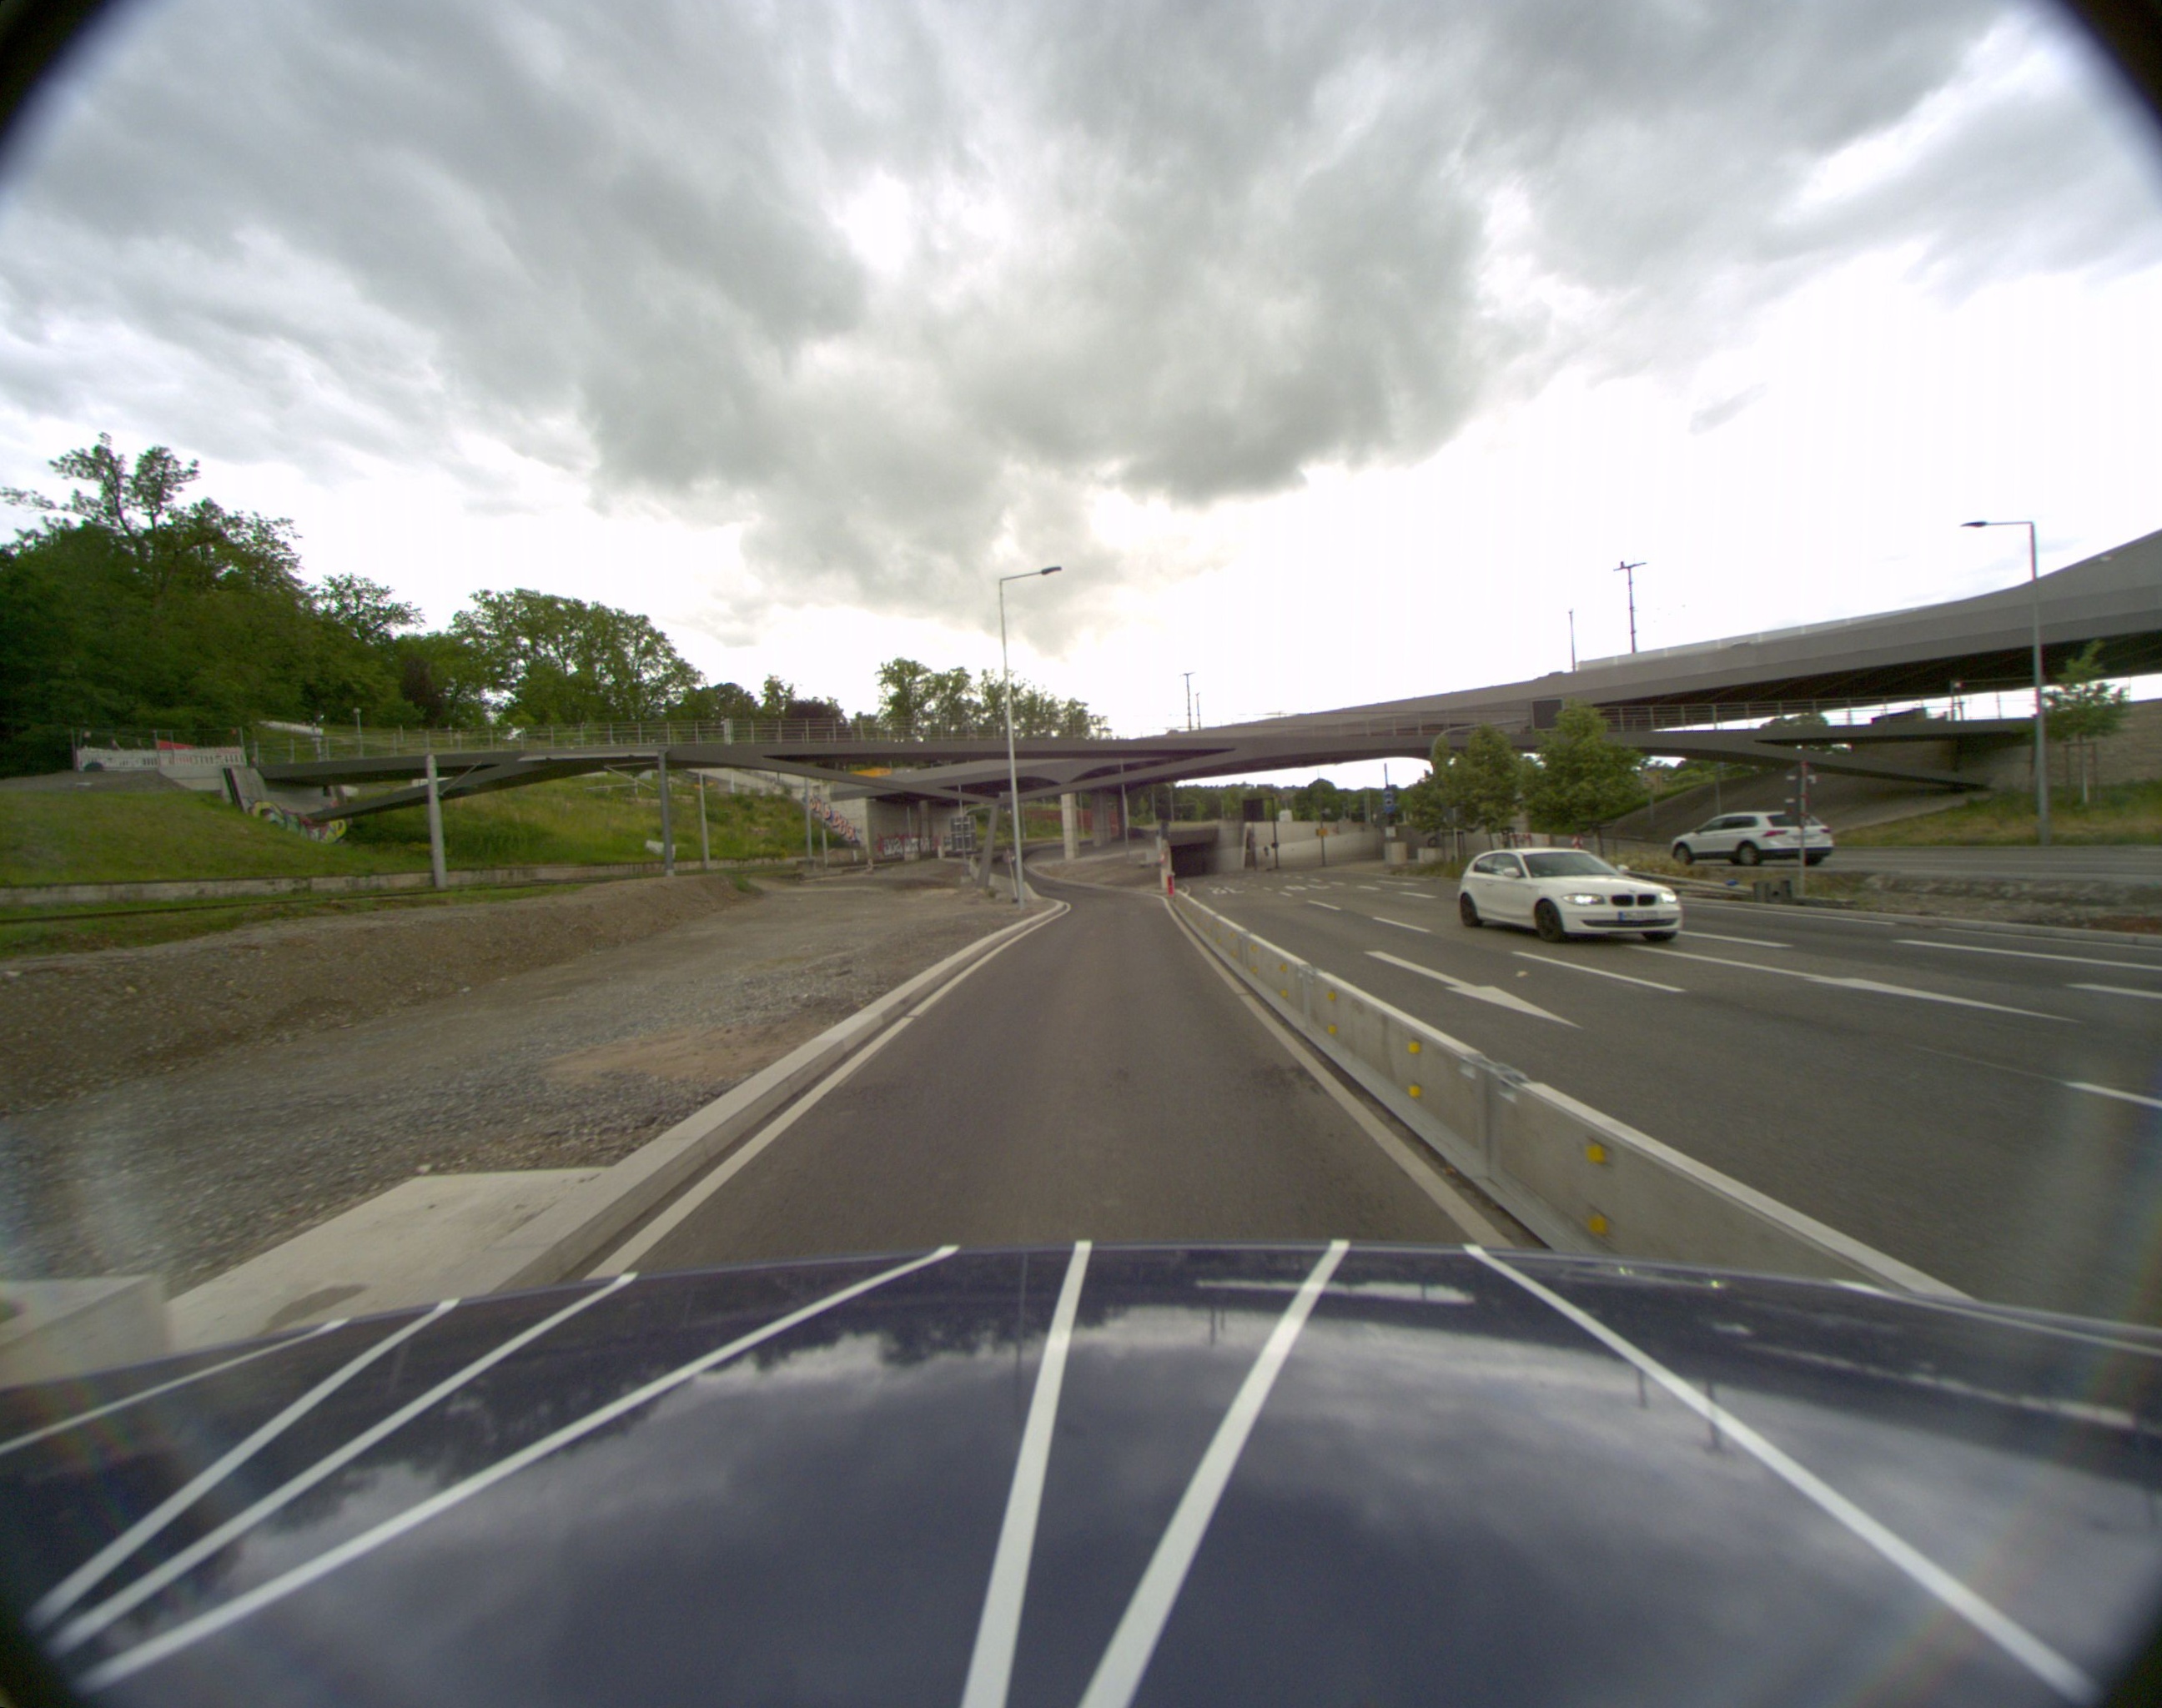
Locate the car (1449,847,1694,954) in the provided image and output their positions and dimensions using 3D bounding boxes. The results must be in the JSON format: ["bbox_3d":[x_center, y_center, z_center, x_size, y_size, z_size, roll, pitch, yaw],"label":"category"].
[{"bbox_3d":[7.713,0.631,12.460,1.642,1.425,3.982,-1,1,4],"label":"car"}]

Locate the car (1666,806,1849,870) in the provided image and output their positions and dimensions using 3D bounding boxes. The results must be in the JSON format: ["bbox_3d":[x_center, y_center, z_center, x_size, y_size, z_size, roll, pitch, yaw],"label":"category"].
[{"bbox_3d":[20.283,-0.454,23.073,1.804,1.652,4.289,-3,0,3],"label":"car"}]
